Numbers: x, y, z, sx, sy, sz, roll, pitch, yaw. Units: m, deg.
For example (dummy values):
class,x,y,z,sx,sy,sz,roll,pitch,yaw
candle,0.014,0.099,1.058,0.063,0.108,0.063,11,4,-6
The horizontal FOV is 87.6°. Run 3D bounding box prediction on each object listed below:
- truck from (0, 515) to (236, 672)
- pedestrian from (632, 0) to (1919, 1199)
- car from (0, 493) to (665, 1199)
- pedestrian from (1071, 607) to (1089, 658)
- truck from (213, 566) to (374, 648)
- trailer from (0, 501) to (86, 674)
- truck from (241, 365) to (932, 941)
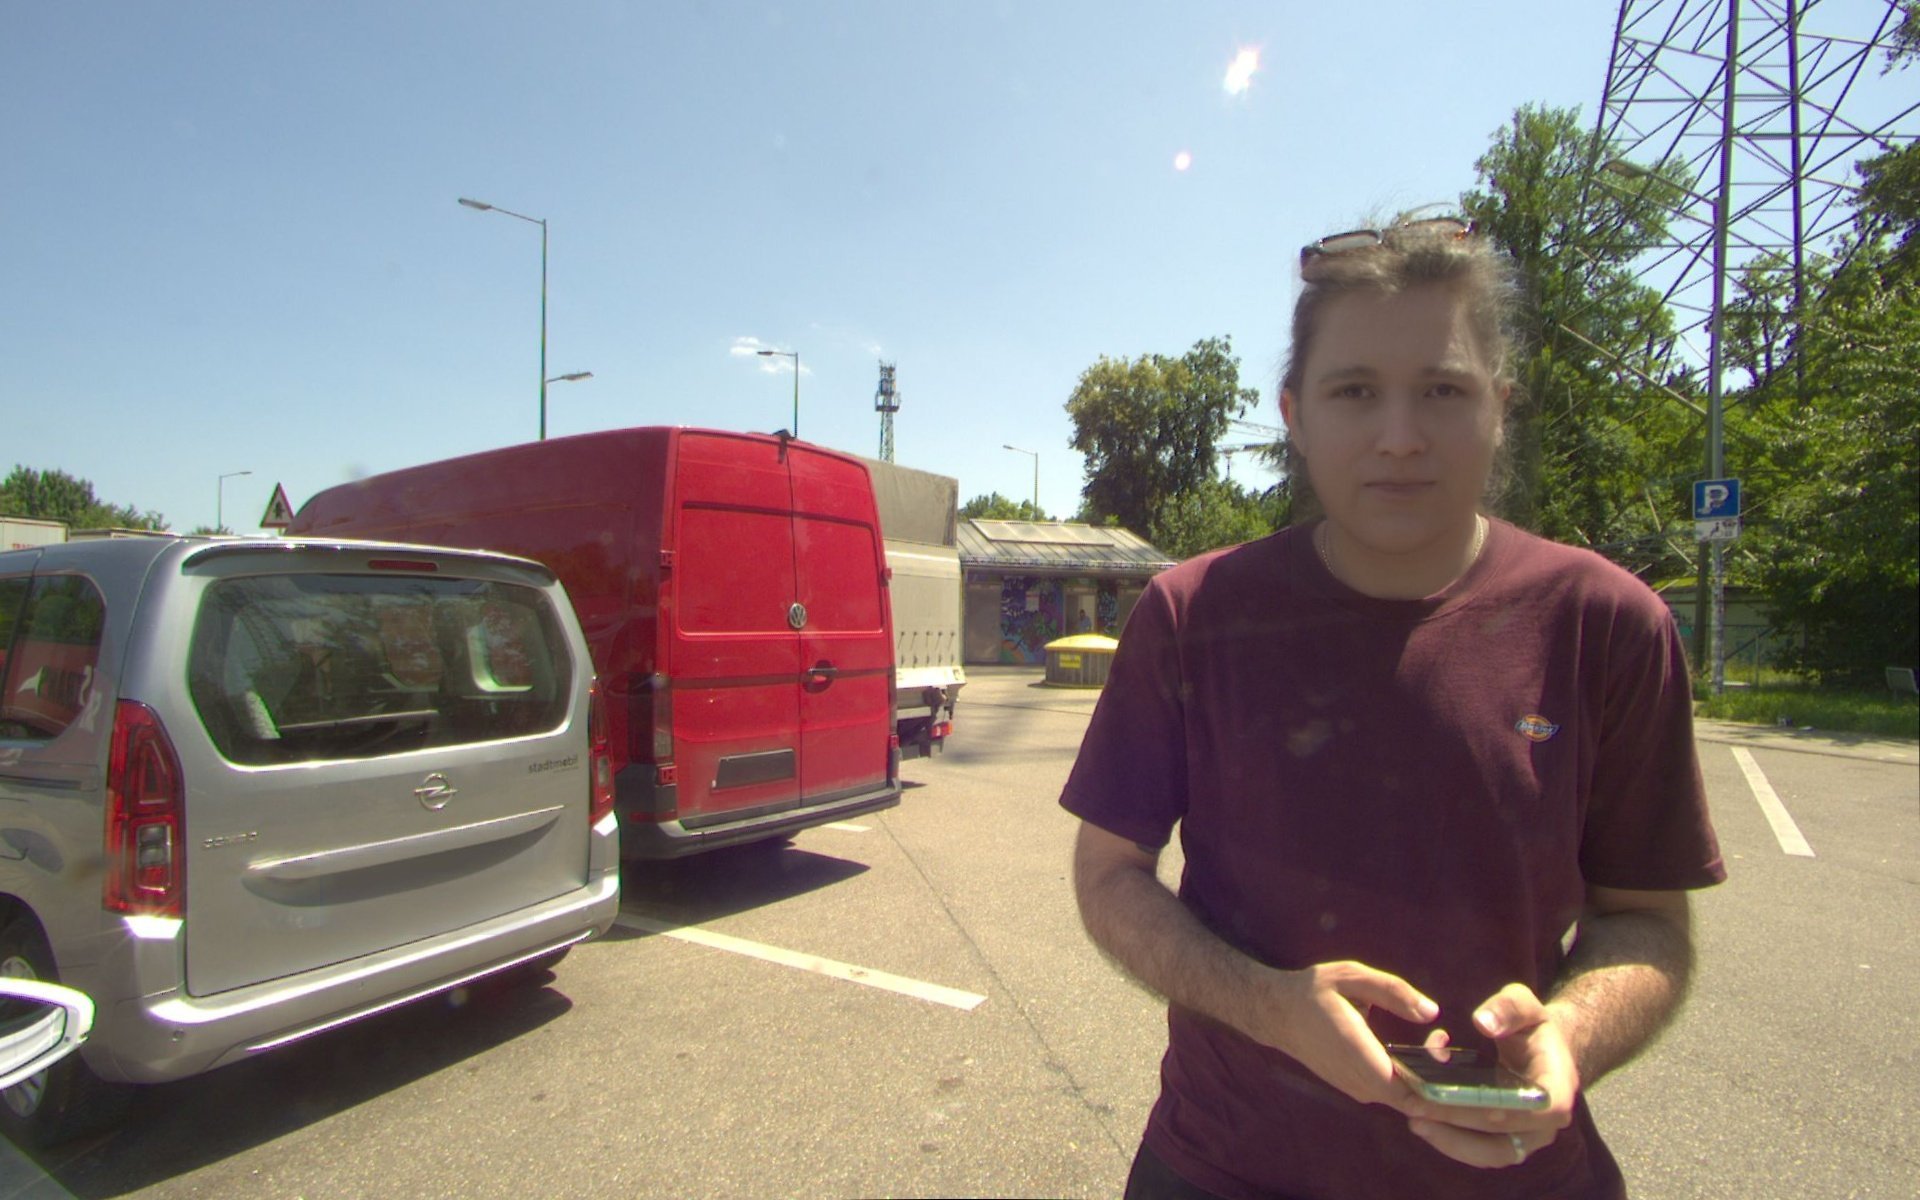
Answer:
class,x,y,z,sx,sy,sz,roll,pitch,yaw
truck,-28.003,-0.122,31.775,14.316,4.175,2.901,0,-3,33
pedestrian,0.361,0.480,0.872,0.926,1.798,0.827,1,0,28
car,-3.358,0.642,4.206,3.938,1.776,1.824,0,-1,29
pedestrian,3.644,0.991,30.364,0.453,1.535,0.375,1,0,-2
truck,-30.722,0.330,46.063,8.407,3.482,3.019,0,-1,33
trailer,-28.807,-0.320,28.021,13.374,4.178,2.871,0,-1,33
truck,-2.872,0.267,6.991,5.233,2.658,1.987,0,-1,37
